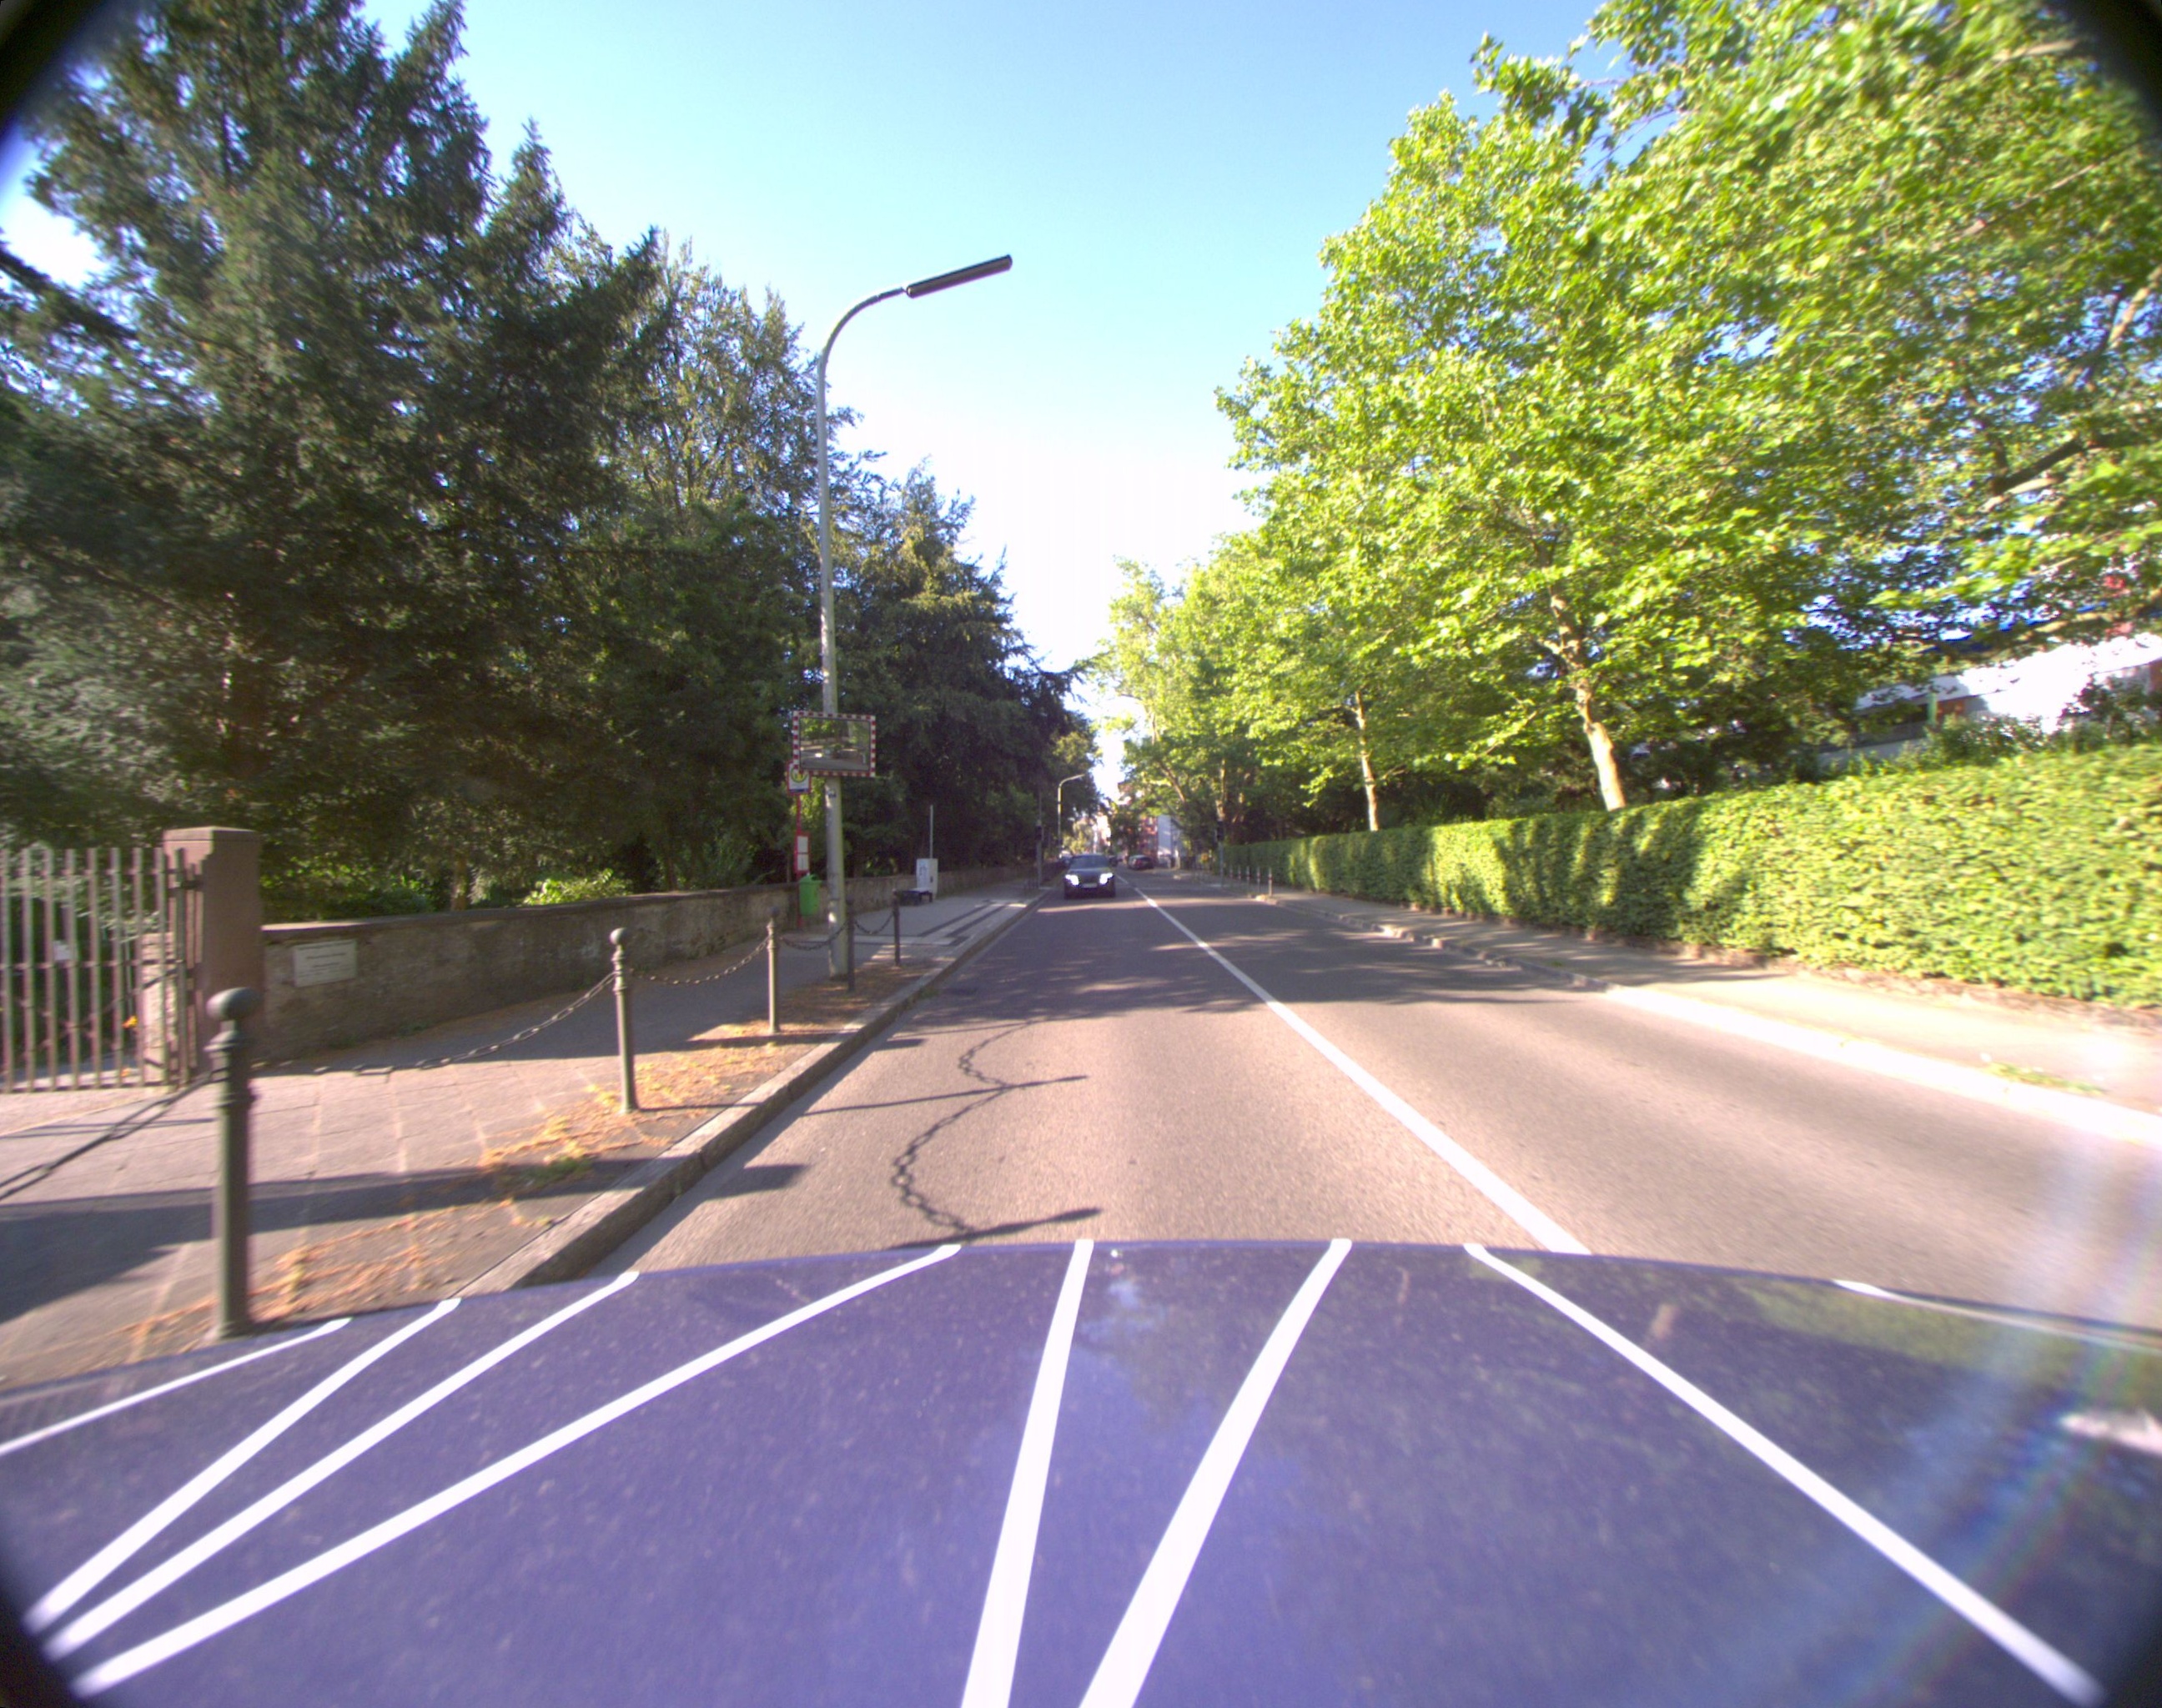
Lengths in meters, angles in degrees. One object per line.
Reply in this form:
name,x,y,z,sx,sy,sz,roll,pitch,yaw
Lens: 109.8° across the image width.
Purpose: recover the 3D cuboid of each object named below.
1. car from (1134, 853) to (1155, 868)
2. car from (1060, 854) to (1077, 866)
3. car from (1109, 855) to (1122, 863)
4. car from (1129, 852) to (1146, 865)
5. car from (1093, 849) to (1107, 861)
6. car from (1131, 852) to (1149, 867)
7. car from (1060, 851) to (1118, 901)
car,6.424,0.647,77.075,1.689,1.425,3.616,-4,0,-1
car,-1.581,0.782,95.423,1.824,1.375,3.933,2,1,-4
car,6.105,0.875,133.625,1.824,1.375,3.933,2,1,-4
car,6.443,0.541,87.153,1.628,1.425,3.559,-3,0,-1
car,3.074,0.180,124.461,1.999,1.957,4.776,0,0,-2
car,6.342,0.540,81.488,1.628,1.537,3.322,-1,0,-1
car,0.383,0.761,28.184,1.936,1.676,4.433,-1,0,3
